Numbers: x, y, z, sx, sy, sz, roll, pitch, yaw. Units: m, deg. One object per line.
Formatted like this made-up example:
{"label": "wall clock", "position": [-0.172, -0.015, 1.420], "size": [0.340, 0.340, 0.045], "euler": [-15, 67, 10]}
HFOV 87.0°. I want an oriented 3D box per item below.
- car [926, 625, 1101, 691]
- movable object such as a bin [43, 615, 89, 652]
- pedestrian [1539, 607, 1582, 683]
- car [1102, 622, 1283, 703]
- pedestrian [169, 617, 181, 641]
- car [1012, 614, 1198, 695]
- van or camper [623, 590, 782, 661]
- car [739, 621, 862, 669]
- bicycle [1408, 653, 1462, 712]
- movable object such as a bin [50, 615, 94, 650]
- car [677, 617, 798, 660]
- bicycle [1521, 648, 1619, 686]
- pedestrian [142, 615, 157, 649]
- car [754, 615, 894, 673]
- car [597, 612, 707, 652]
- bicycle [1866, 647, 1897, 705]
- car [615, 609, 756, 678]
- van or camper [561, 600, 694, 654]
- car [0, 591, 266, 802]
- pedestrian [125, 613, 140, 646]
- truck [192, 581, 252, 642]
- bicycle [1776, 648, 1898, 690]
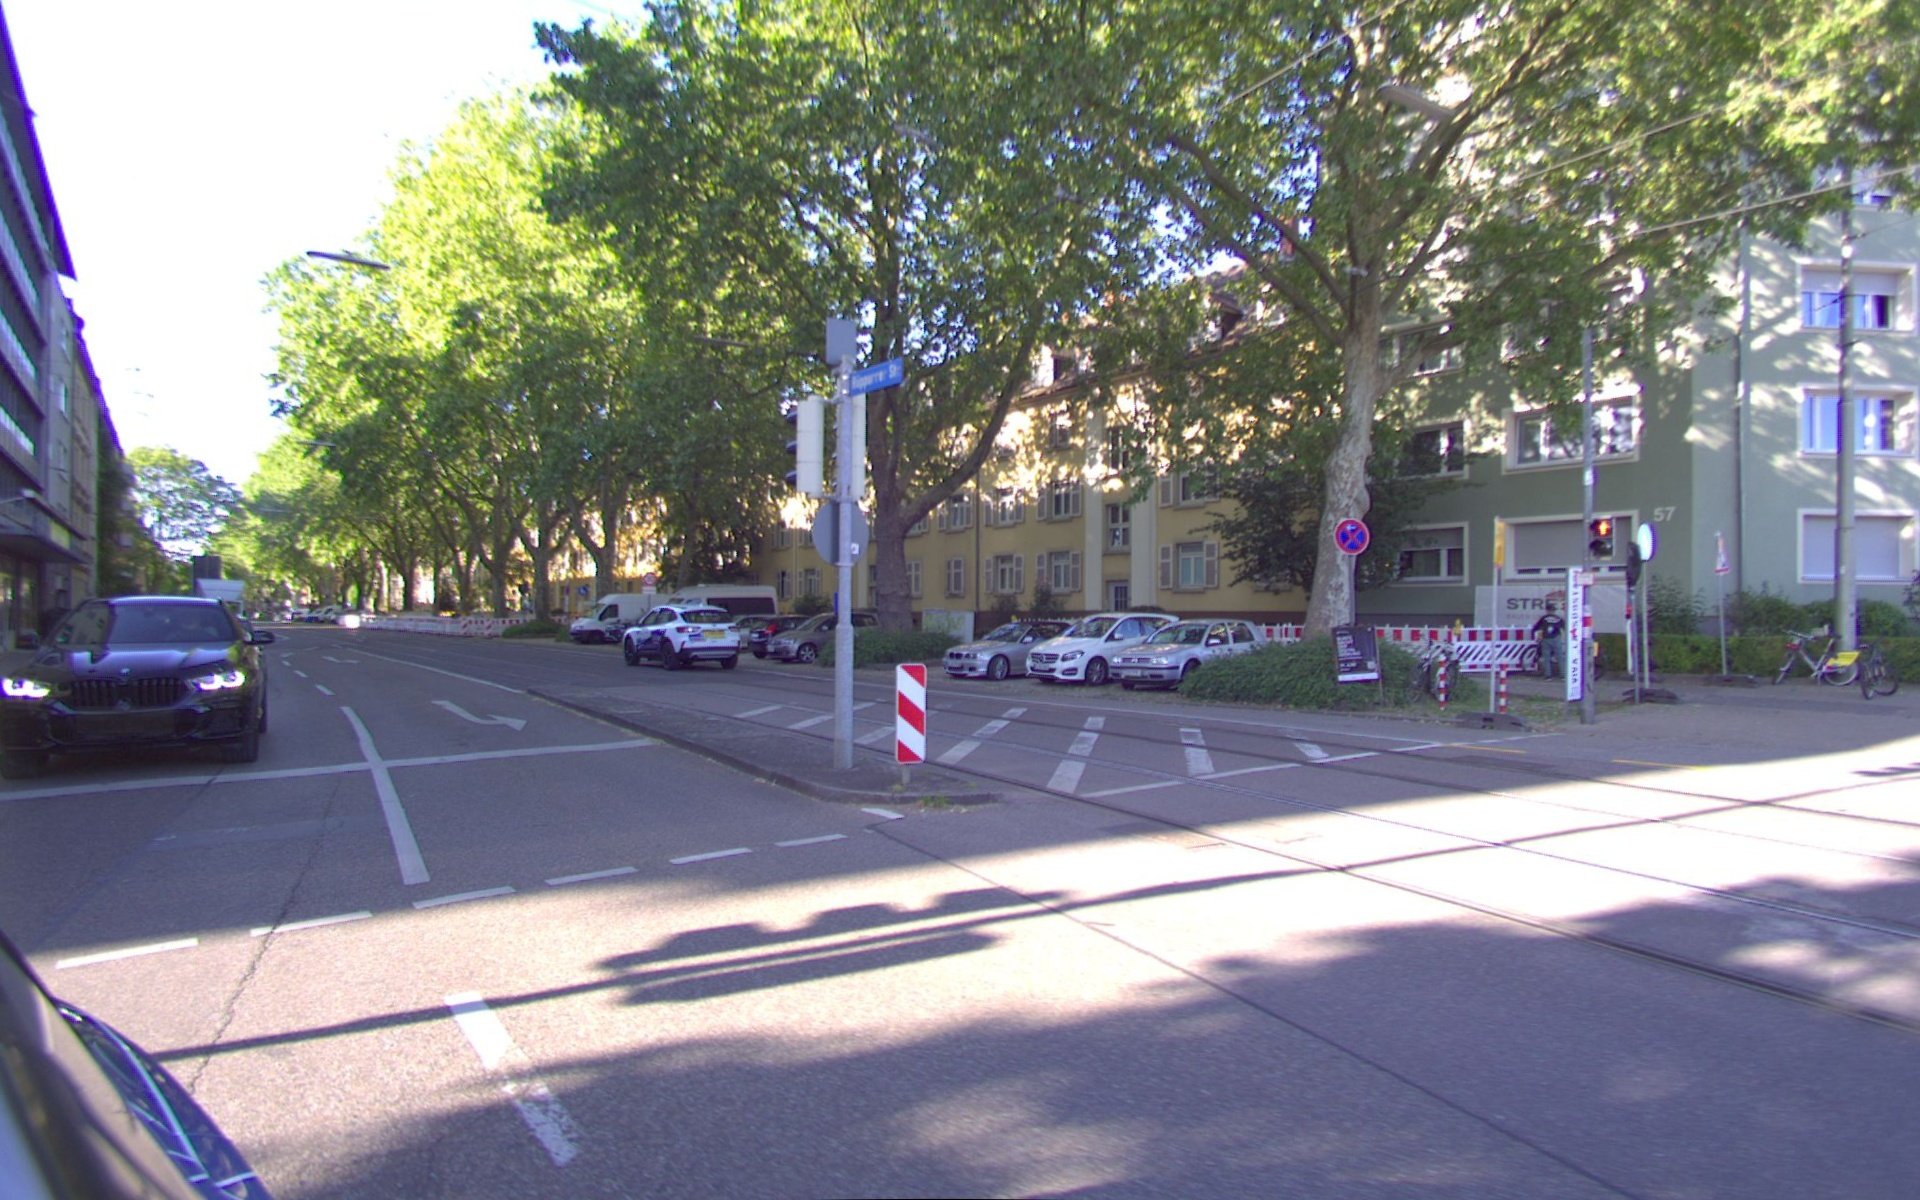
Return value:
{"label": "car", "position": [1.353, 1.361, 24.967], "size": [4.016, 1.379, 1.849], "euler": [-1, 0, -35]}
{"label": "movable object such as a bin", "position": [-34.906, 1.309, 39.544], "size": [1.184, 1.421, 1.375], "euler": [1, -2, -35]}
{"label": "pedestrian", "position": [12.610, 0.933, 21.273], "size": [0.739, 1.580, 0.596], "euler": [-1, -1, 28]}
{"label": "car", "position": [4.922, 1.232, 21.159], "size": [3.938, 1.428, 1.707], "euler": [-1, 0, -41]}
{"label": "pedestrian", "position": [-48.564, 1.807, 62.641], "size": [0.532, 1.456, 0.632], "euler": [1, -2, -35]}
{"label": "car", "position": [3.343, 1.167, 23.105], "size": [4.016, 1.624, 1.849], "euler": [-1, 0, -35]}
{"label": "van or camper", "position": [-10.346, 0.951, 40.948], "size": [5.838, 2.668, 2.161], "euler": [-1, 0, -36]}
{"label": "car", "position": [-5.427, 1.496, 34.607], "size": [3.800, 1.457, 1.698], "euler": [-1, 0, -35]}
{"label": "bicycle", "position": [8.032, 1.373, 17.082], "size": [0.358, 0.895, 1.551], "euler": [-1, -2, 43]}
{"label": "movable object such as a bin", "position": [-36.089, 1.307, 41.163], "size": [1.184, 1.421, 1.375], "euler": [1, -2, -35]}
{"label": "car", "position": [-8.516, 1.436, 38.885], "size": [4.208, 1.457, 1.698], "euler": [-1, 0, -35]}
{"label": "bicycle", "position": [12.996, 1.416, 21.608], "size": [1.772, 0.765, 0.355], "euler": [-1, -1, 29]}
{"label": "pedestrian", "position": [-41.459, 1.637, 51.793], "size": [0.532, 1.685, 0.632], "euler": [1, -2, -35]}
{"label": "car", "position": [-4.311, 1.347, 32.206], "size": [4.016, 1.631, 1.849], "euler": [-1, 0, -35]}
{"label": "car", "position": [-13.968, 1.418, 45.978], "size": [4.468, 1.645, 1.698], "euler": [-1, 0, -35]}
{"label": "bicycle", "position": [15.822, 1.281, 17.363], "size": [0.358, 0.895, 1.755], "euler": [-1, -2, 43]}
{"label": "car", "position": [-7.323, 1.096, 26.714], "size": [1.968, 1.644, 4.640], "euler": [1, -2, -38]}
{"label": "van or camper", "position": [-15.913, 1.217, 48.521], "size": [5.672, 2.403, 2.161], "euler": [-1, 0, -36]}
{"label": "car", "position": [-8.641, 0.801, 10.912], "size": [1.900, 1.765, 4.695], "euler": [0, 0, -35]}
{"label": "pedestrian", "position": [-43.493, 1.562, 53.170], "size": [0.532, 1.735, 0.632], "euler": [1, -2, -35]}
{"label": "truck", "position": [-40.173, 0.565, 55.018], "size": [2.308, 3.137, 5.222], "euler": [0, 0, -40]}
{"label": "bicycle", "position": [16.654, 1.297, 19.237], "size": [1.763, 0.765, 0.357], "euler": [0, -1, 14]}
